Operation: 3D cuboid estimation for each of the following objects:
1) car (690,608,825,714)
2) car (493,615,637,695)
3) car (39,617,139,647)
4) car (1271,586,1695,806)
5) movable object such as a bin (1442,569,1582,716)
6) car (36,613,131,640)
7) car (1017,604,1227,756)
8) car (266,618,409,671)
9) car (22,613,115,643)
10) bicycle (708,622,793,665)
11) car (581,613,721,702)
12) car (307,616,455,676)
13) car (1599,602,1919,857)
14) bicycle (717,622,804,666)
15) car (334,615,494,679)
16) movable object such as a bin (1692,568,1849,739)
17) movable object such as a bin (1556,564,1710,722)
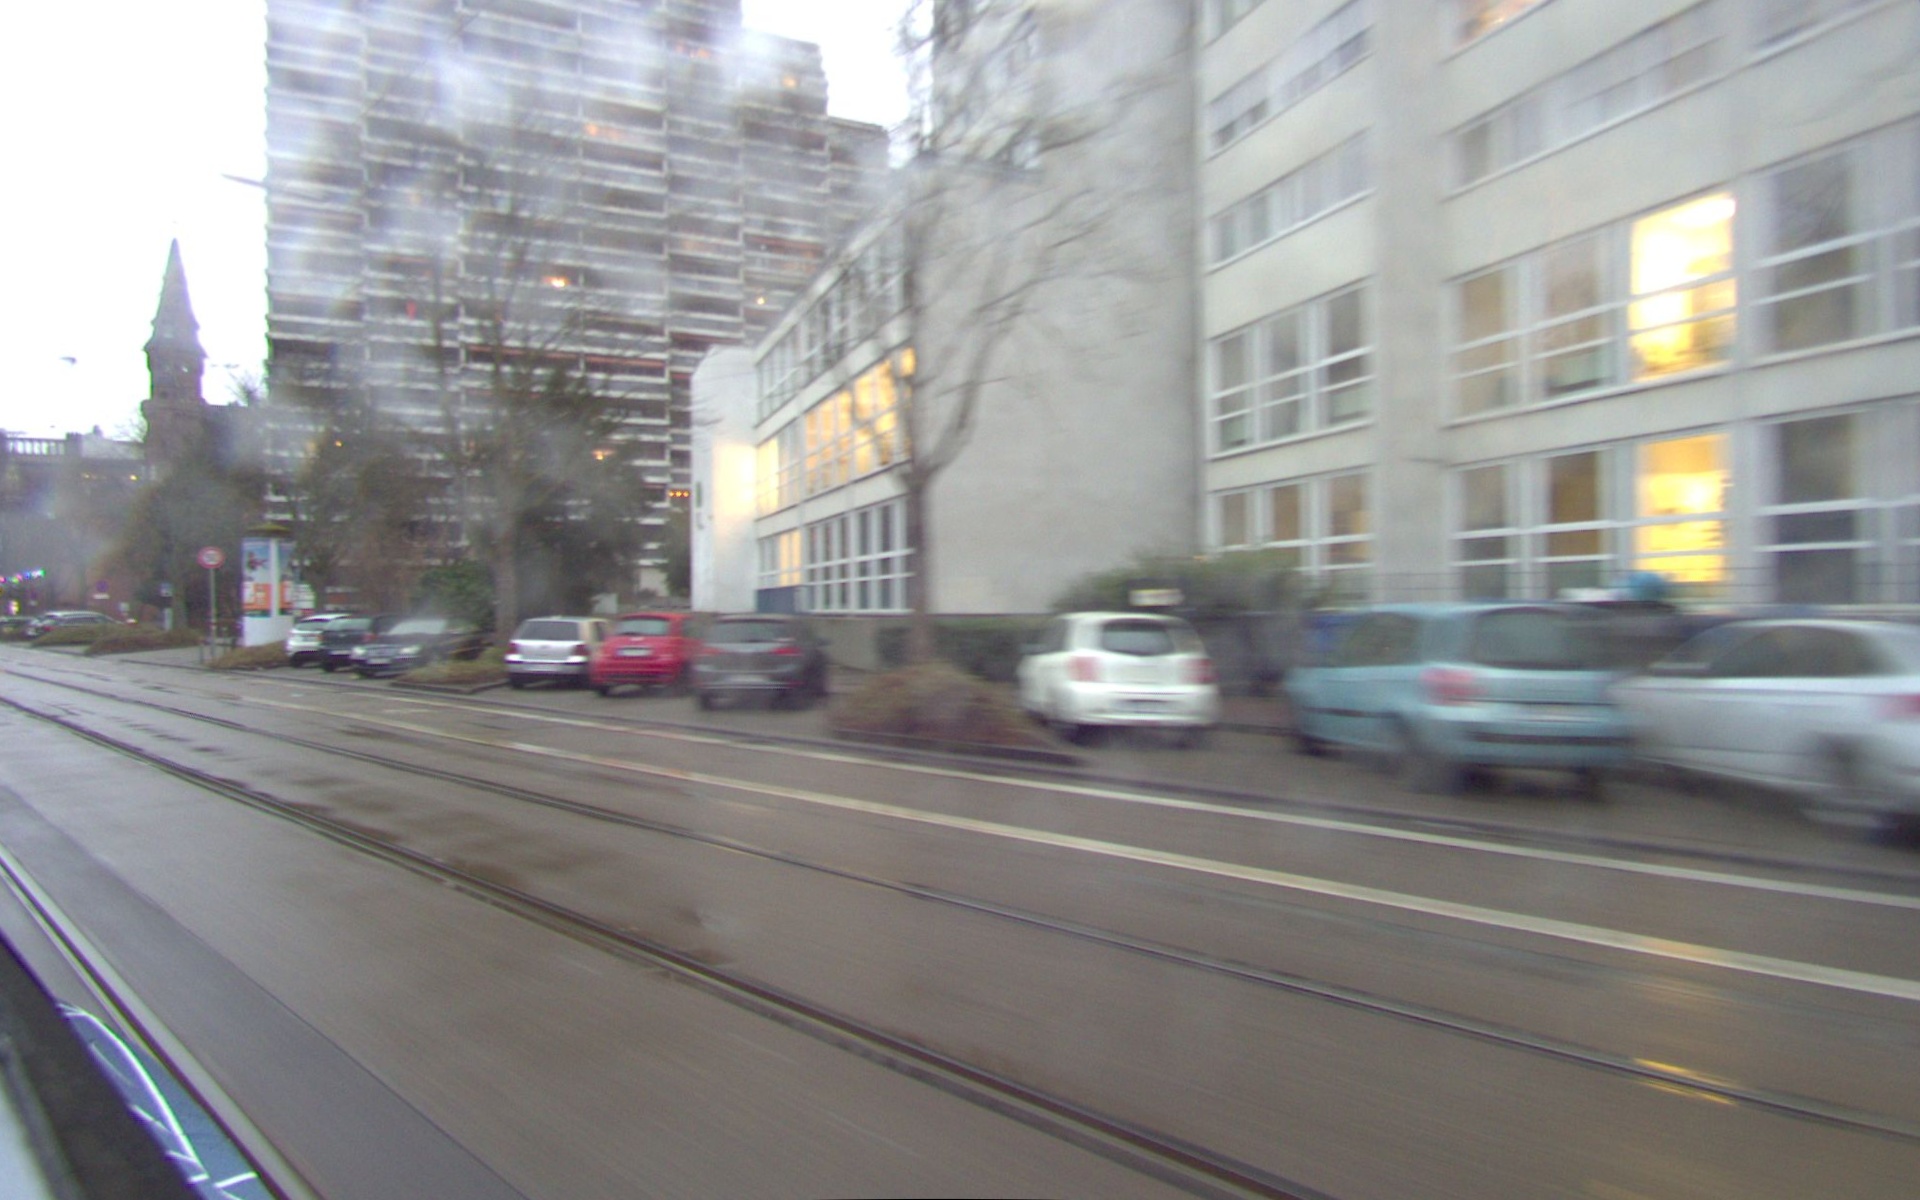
[{"bbox_3d":[-3.191,0.935,16.606,1.671,1.504,3.856,-1,-1,-4],"label":"car"},{"bbox_3d":[-8.021,1.079,20.929,1.765,1.457,4.005,-1,-1,-6],"label":"car"},{"bbox_3d":[-46.241,1.691,53.798,3.940,1.497,1.673,1,-2,-44],"label":"car"},{"bbox_3d":[4.432,0.747,9.388,1.712,1.575,4.001,-1,-1,-2],"label":"car"},{"bbox_3d":[7.619,0.577,13.955,1.317,1.874,1.553,-3,-3,41],"label":"movable object such as a bin"},{"bbox_3d":[-49.057,1.481,56.699,3.940,1.497,1.673,1,-2,-44],"label":"car"},{"bbox_3d":[1.815,0.884,12.551,1.667,1.563,3.880,-1,-1,-5],"label":"car"},{"bbox_3d":[-18.080,1.265,29.611,1.829,1.410,4.001,-1,-1,-2],"label":"car"},{"bbox_3d":[-51.384,1.618,58.390,3.940,1.652,2.002,1,-2,-44],"label":"car"},{"bbox_3d":[-5.740,1.181,27.750,2.167,1.129,0.644,0,-2,-27],"label":"bicycle"},{"bbox_3d":[-5.723,1.030,19.132,1.704,1.504,3.452,-1,-1,-2],"label":"car"},{"bbox_3d":[-15.492,1.200,27.346,1.829,1.474,4.001,-1,-1,-2],"label":"car"},{"bbox_3d":[6.523,0.783,7.254,1.716,1.455,3.991,0,-1,7],"label":"car"},{"bbox_3d":[-5.282,1.151,26.876,2.167,1.129,0.644,0,-2,-27],"label":"bicycle"},{"bbox_3d":[-13.054,1.096,24.501,1.829,1.389,4.001,-1,-1,-2],"label":"car"},{"bbox_3d":[9.699,0.618,12.109,1.317,1.874,1.553,-3,-3,41],"label":"movable object such as a bin"},{"bbox_3d":[8.670,0.540,13.034,1.393,1.874,1.553,-3,-3,41],"label":"movable object such as a bin"}]
